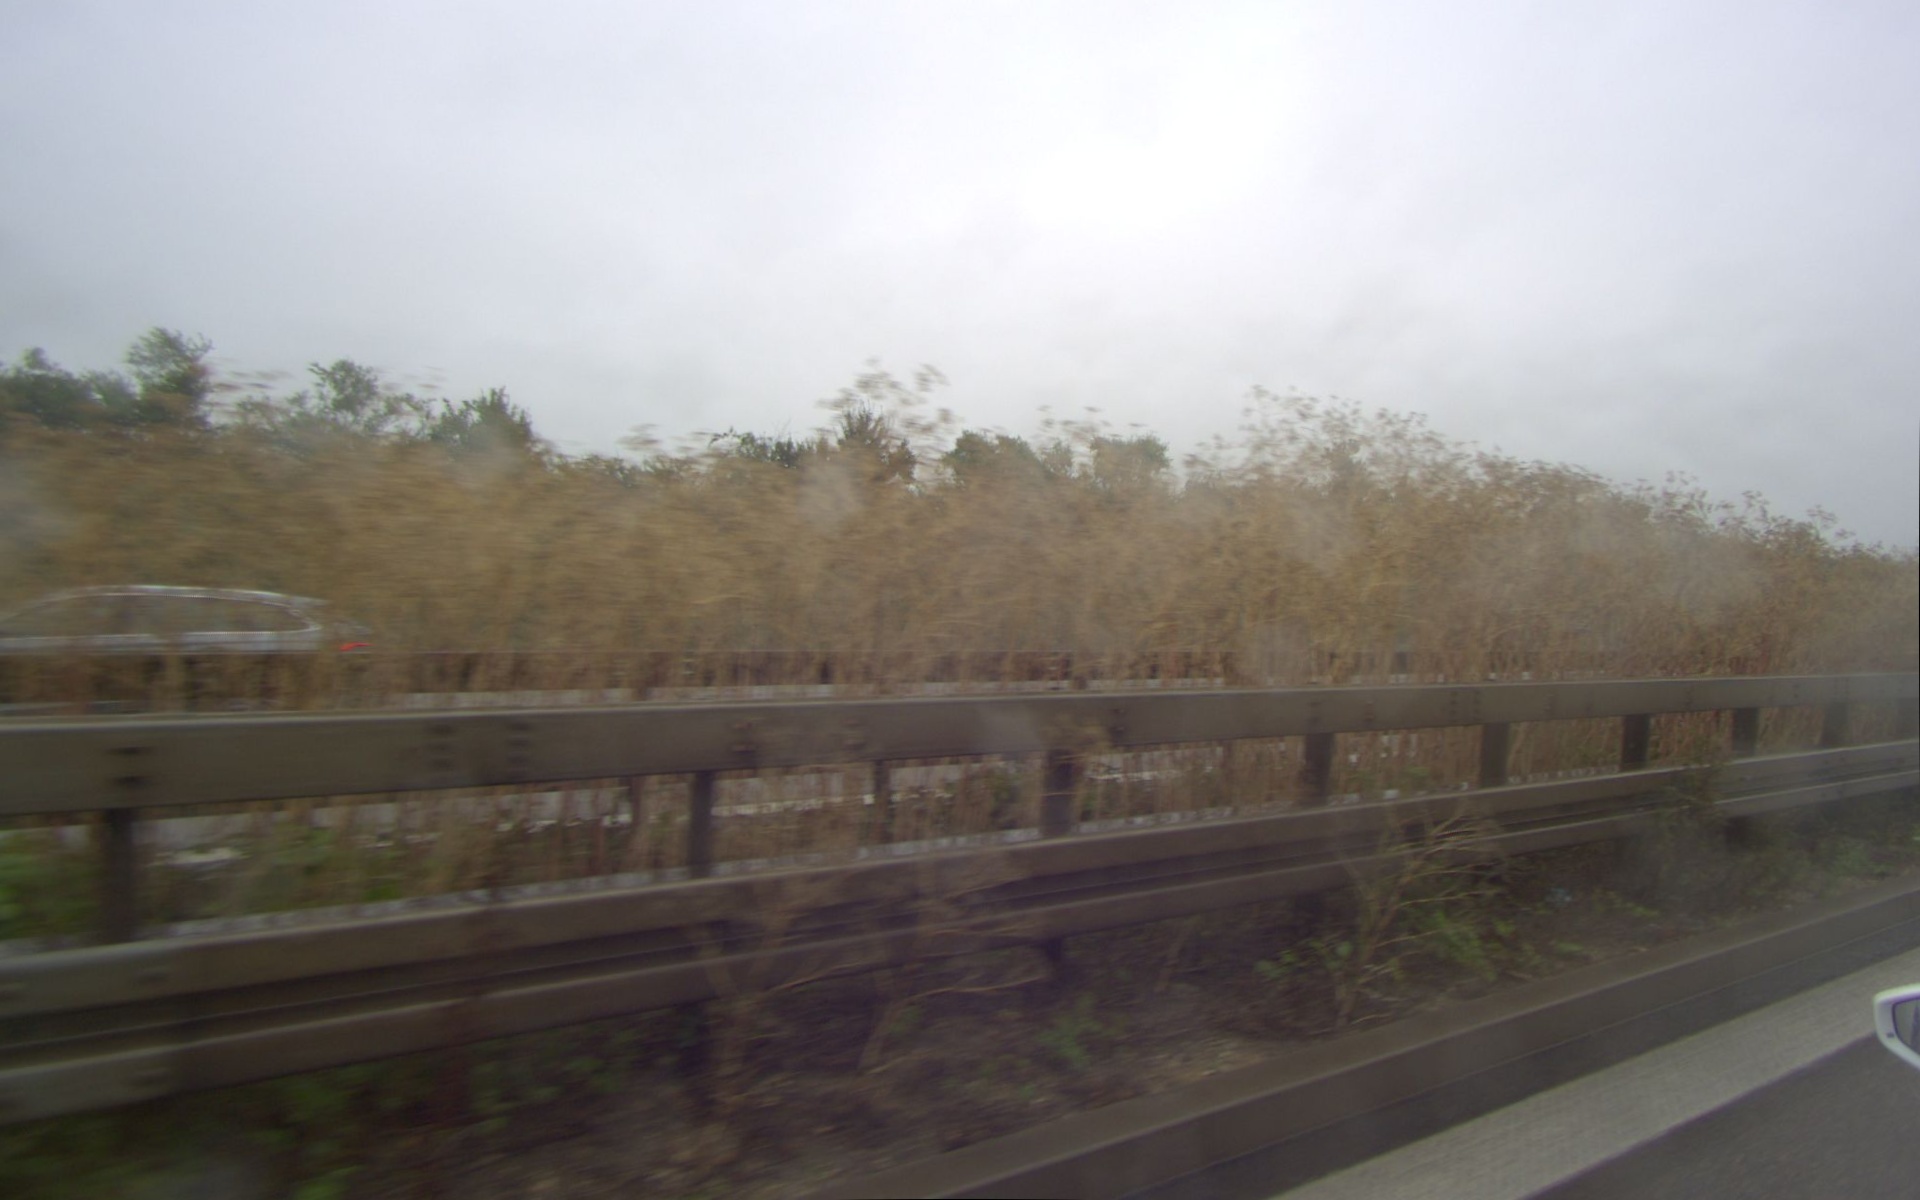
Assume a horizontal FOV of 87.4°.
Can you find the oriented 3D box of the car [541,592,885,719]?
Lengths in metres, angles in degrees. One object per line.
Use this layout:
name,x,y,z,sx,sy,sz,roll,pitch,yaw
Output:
car,-3.194,0.663,13.125,3.955,1.417,1.983,2,0,-32
